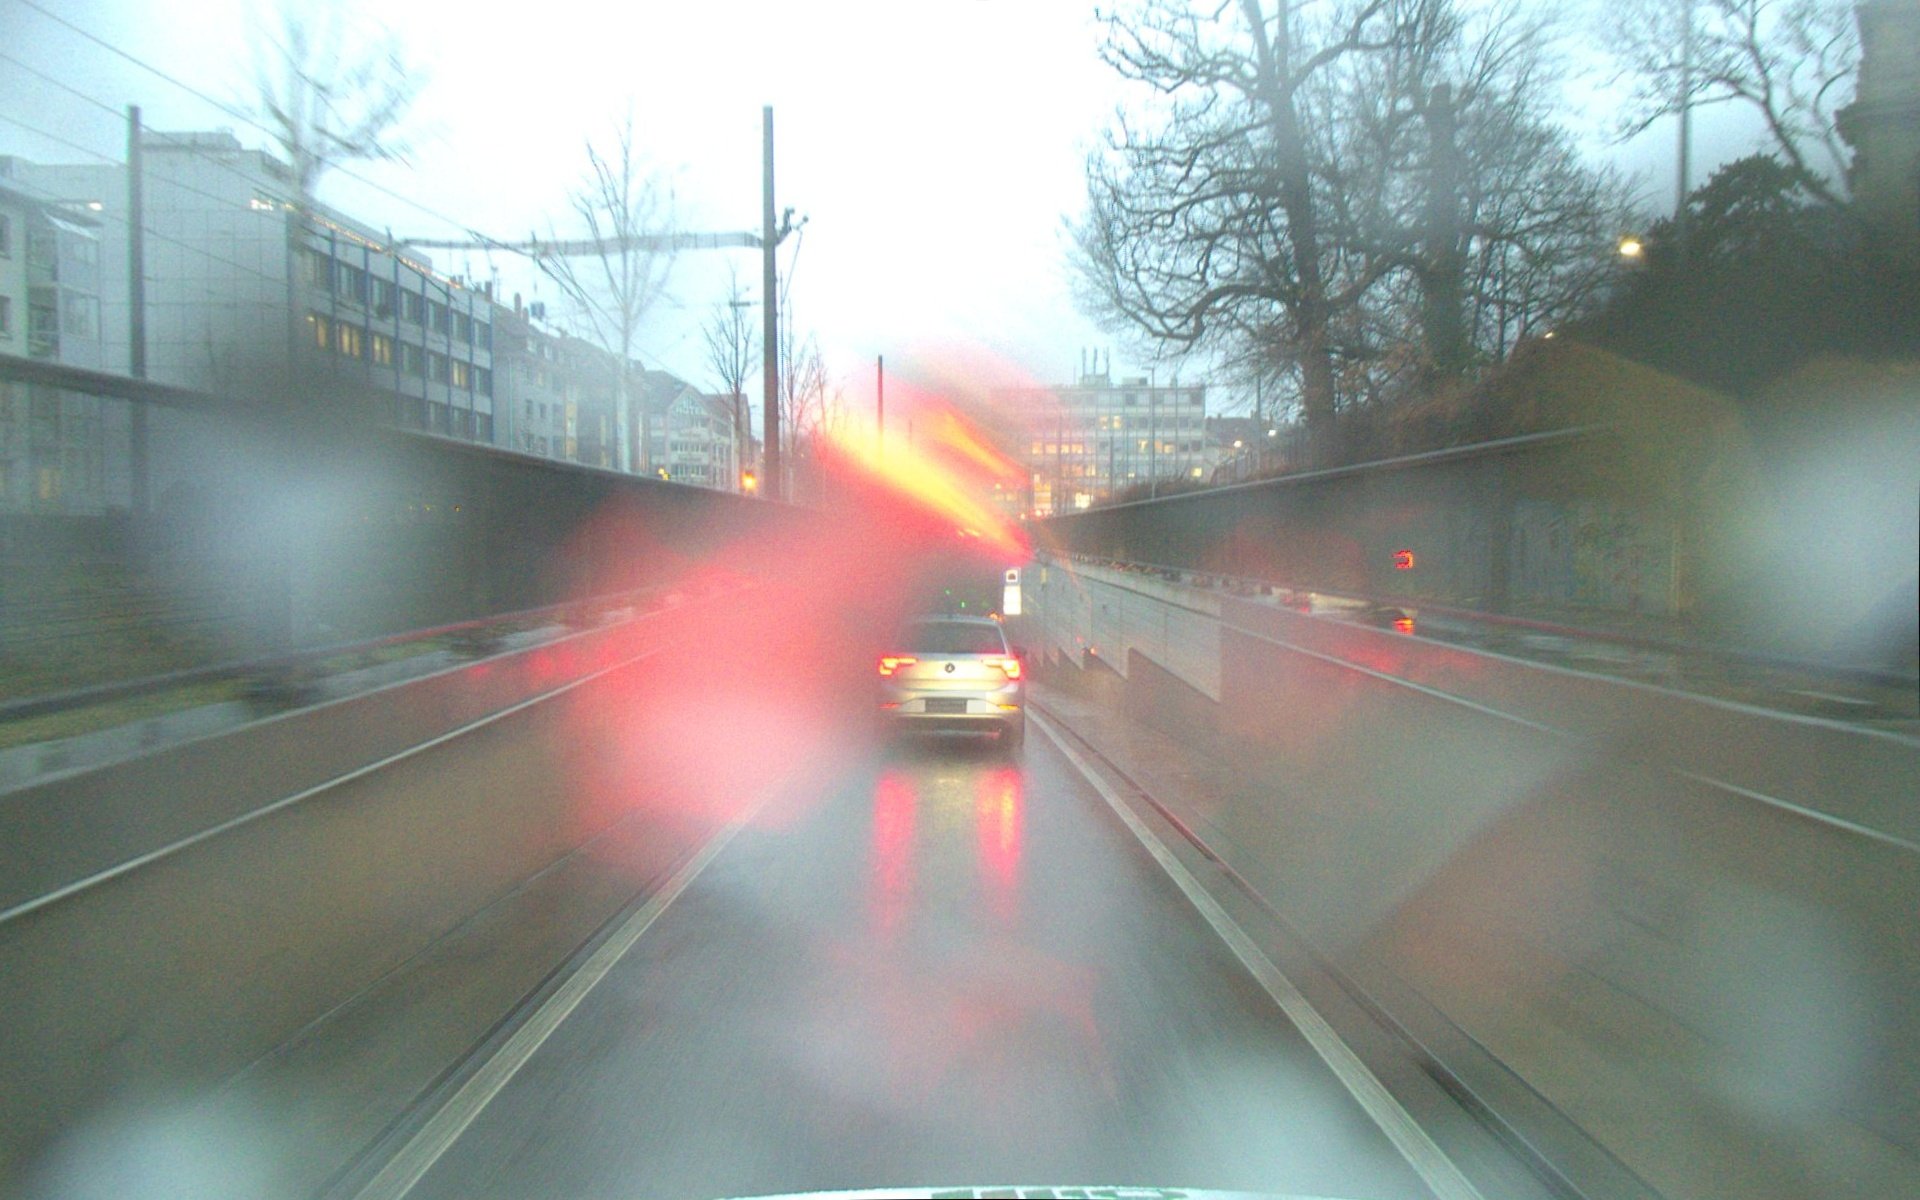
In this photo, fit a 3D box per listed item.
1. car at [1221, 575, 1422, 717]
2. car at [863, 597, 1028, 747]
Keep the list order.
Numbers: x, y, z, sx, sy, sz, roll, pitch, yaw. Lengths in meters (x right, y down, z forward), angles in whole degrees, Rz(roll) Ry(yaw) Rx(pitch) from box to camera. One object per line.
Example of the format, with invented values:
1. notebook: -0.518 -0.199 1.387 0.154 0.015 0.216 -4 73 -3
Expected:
1. car: 4.376 0.488 20.603 1.687 1.505 4.001 2 1 1
2. car: -0.102 0.754 19.396 1.687 1.505 4.001 2 0 1
